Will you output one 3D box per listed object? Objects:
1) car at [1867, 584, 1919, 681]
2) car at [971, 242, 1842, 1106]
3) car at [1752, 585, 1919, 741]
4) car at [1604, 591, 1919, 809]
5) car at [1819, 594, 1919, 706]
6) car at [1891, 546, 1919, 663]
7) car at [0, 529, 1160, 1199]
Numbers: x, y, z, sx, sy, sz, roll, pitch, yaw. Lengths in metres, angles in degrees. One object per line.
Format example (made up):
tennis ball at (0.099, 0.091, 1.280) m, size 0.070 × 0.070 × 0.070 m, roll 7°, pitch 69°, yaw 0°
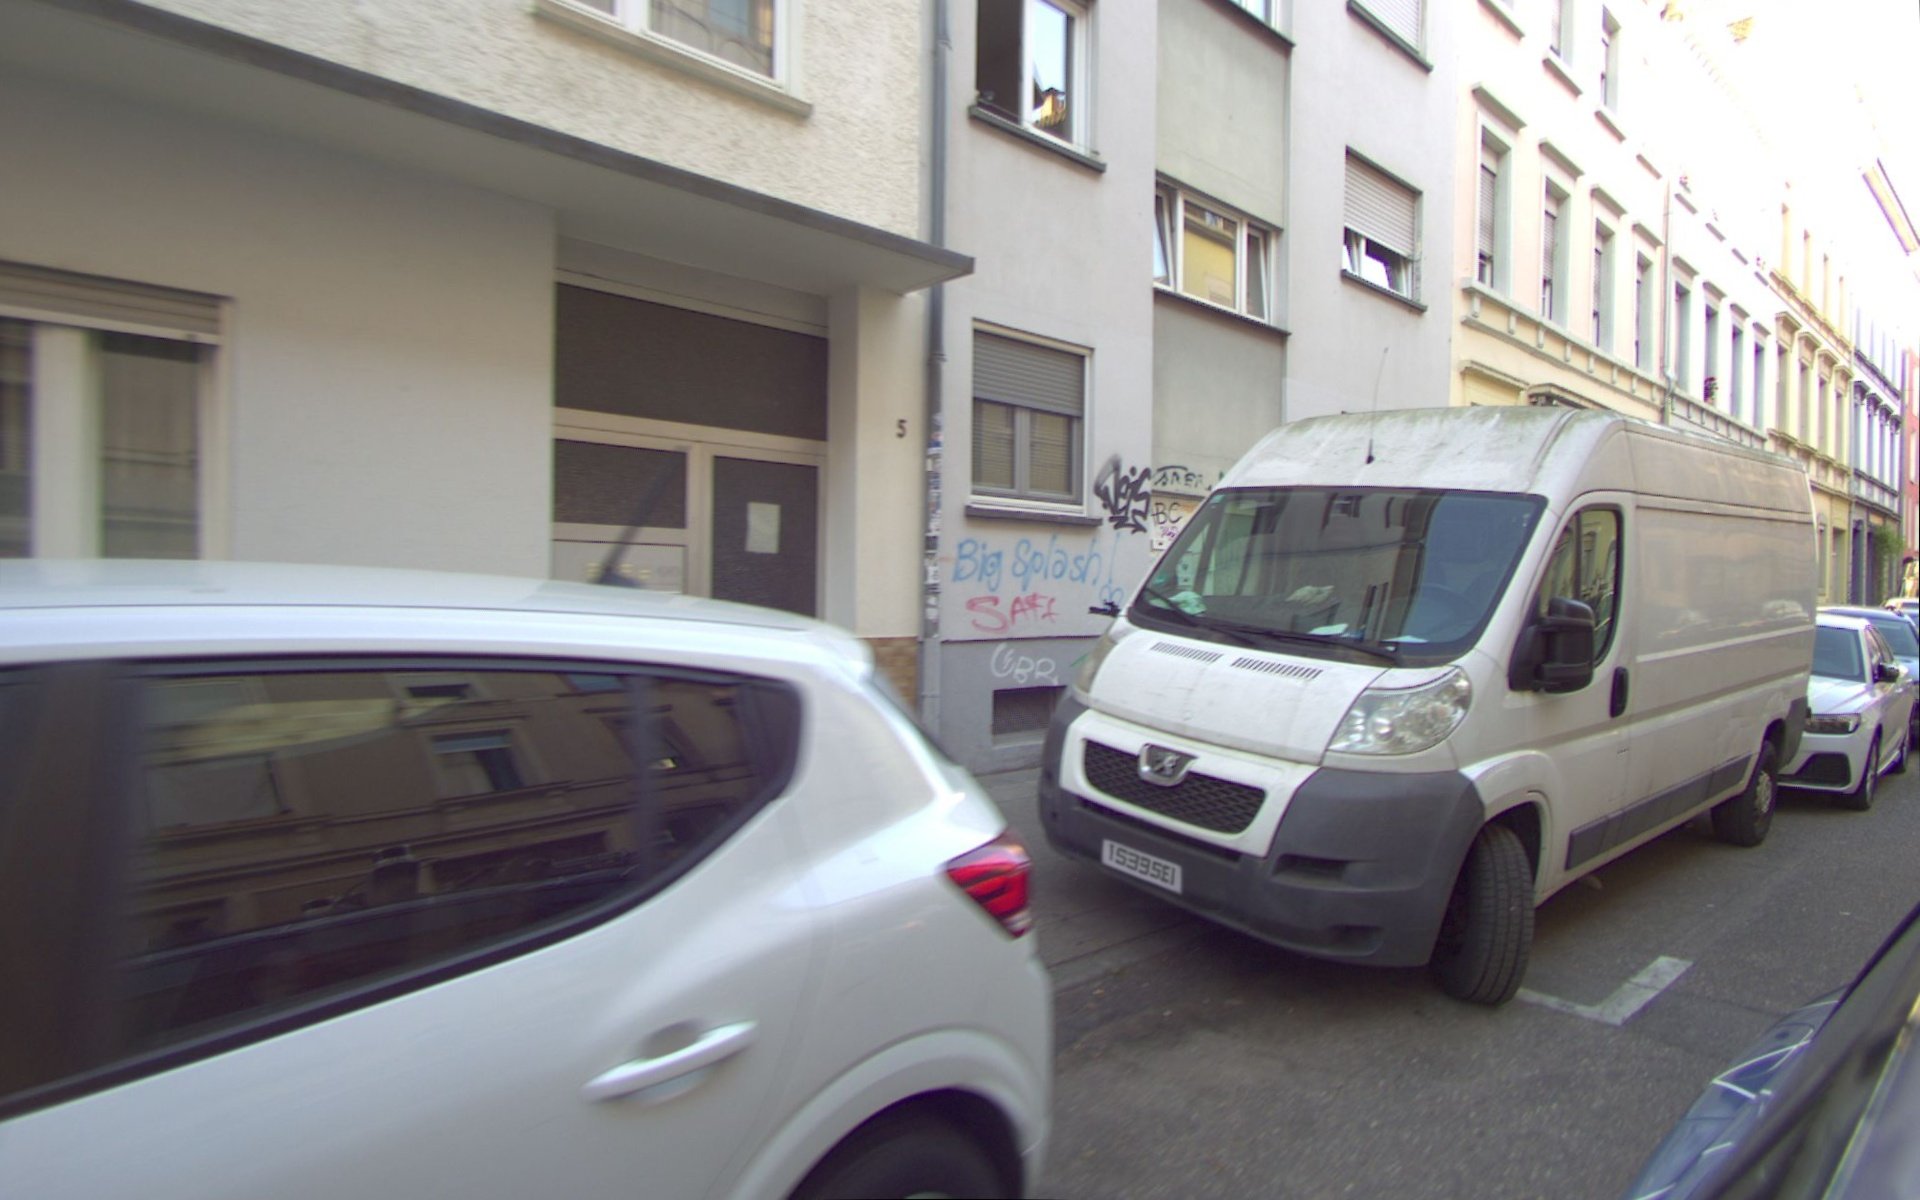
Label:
car at (18.206, 0.582, 18.619) m, size 4.298 × 1.627 × 1.697 m, roll 0°, pitch 3°, yaw -41°
car at (3.027, 0.196, 5.808) m, size 5.929 × 2.582 × 2.209 m, roll 0°, pitch 1°, yaw -41°
car at (10.874, 0.652, 12.264) m, size 1.810 × 1.496 × 4.542 m, roll 5°, pitch 3°, yaw 39°
car at (7.202, 0.678, 8.829) m, size 3.767 × 1.447 × 1.728 m, roll 0°, pitch 1°, yaw -42°
car at (14.619, 0.690, 15.406) m, size 4.169 × 1.504 × 1.749 m, roll 0°, pitch 1°, yaw -41°
car at (22.865, 0.121, 22.730) m, size 6.199 × 2.455 × 2.179 m, roll 0°, pitch 2°, yaw -41°
car at (-1.627, 0.659, 1.313) m, size 3.954 × 1.488 × 1.733 m, roll 0°, pitch 1°, yaw -44°
